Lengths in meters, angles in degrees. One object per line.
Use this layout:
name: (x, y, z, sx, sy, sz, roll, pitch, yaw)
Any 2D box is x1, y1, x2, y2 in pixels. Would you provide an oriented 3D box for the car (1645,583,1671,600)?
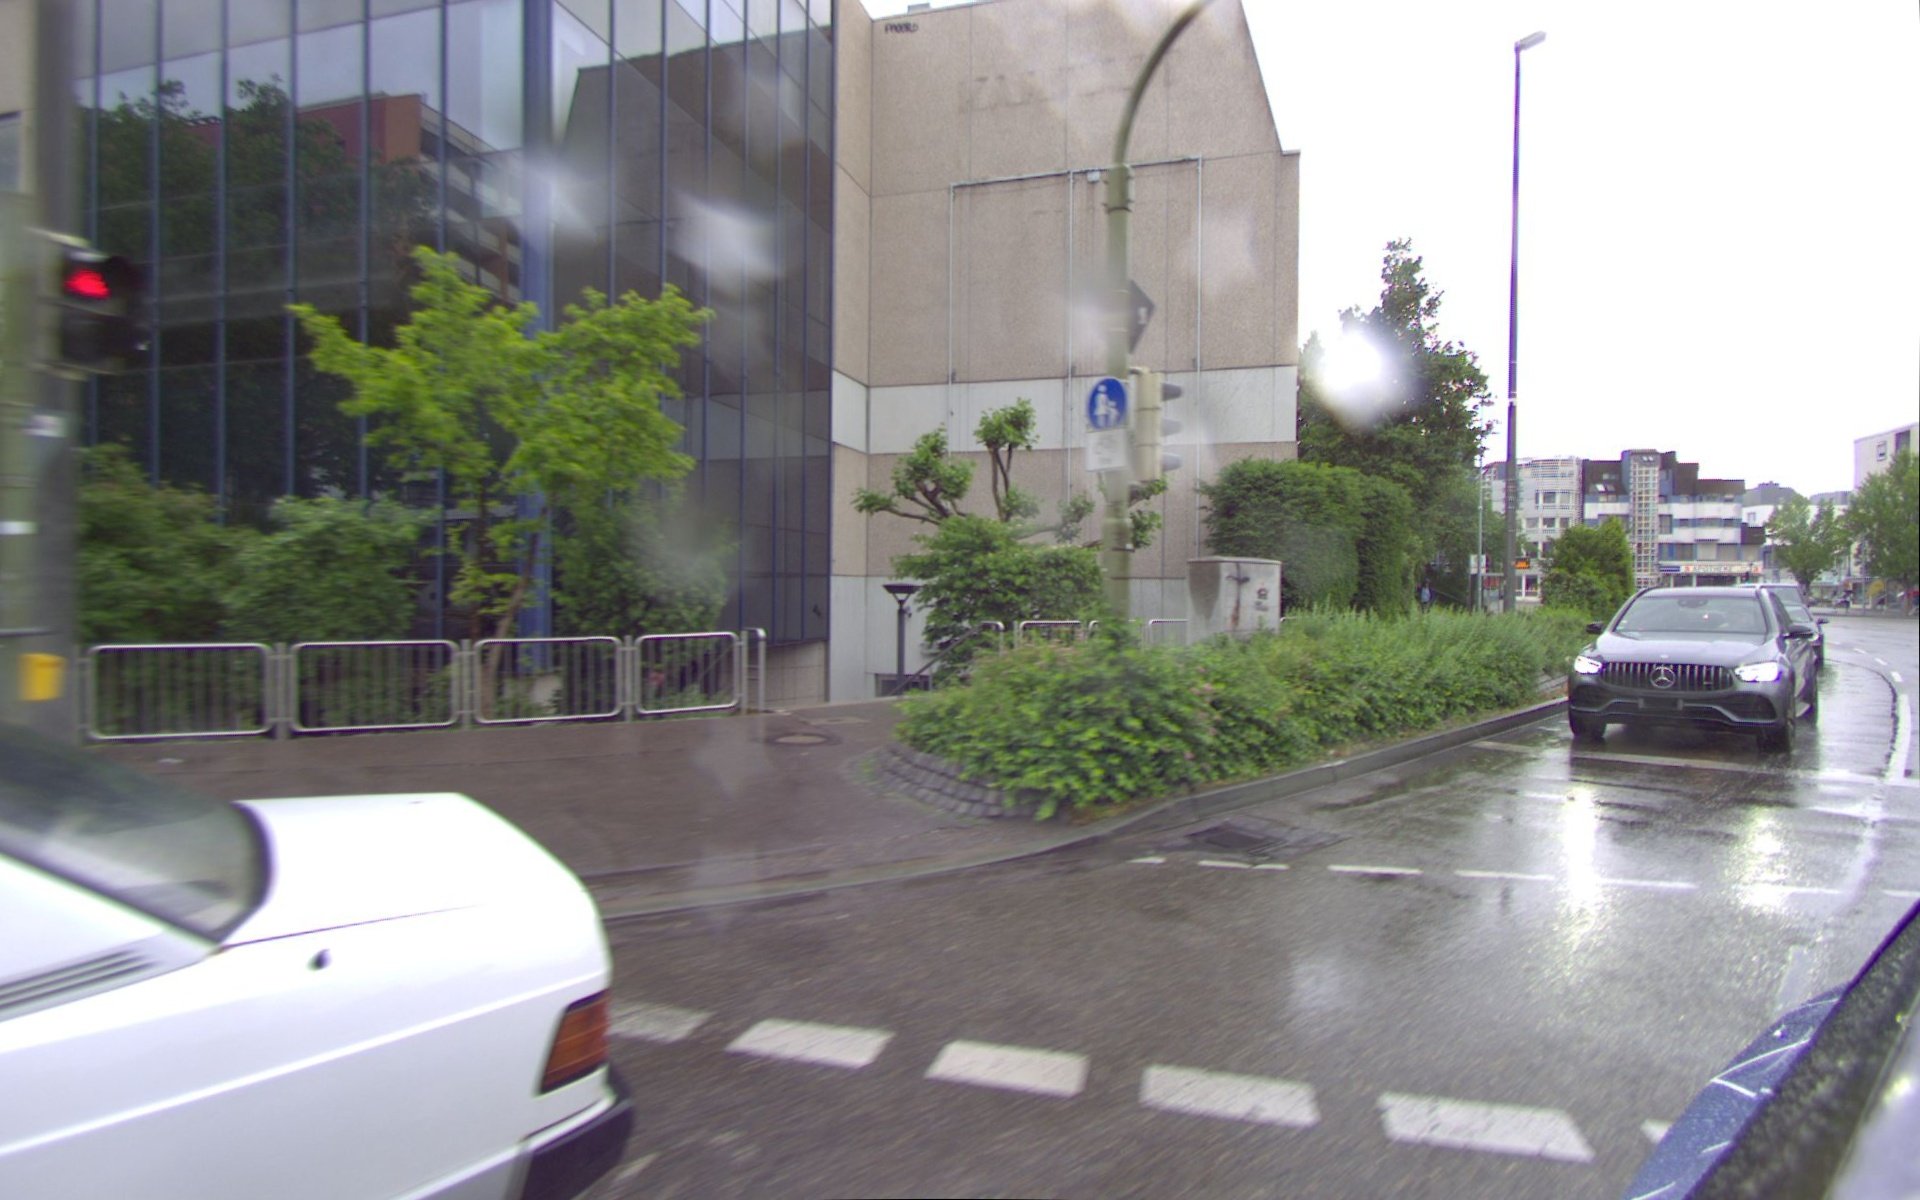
car: (61.907, -0.773, 89.751, 1.836, 1.479, 4.749, -1, 0, 34)

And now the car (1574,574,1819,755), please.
car: (8.424, 0.566, 11.417, 1.899, 1.641, 4.272, 0, 0, 41)

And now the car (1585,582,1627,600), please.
car: (53.620, -0.719, 84.069, 1.738, 1.470, 3.981, 0, 0, 15)

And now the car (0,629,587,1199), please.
car: (-2.775, 0.775, 1.034, 4.192, 1.467, 1.637, 1, -2, -40)

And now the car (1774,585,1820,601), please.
car: (96.360, -0.803, 116.530, 3.824, 1.742, 1.746, 0, 0, 3)

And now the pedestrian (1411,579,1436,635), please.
pedestrian: (15.304, 0.223, 33.444, 0.665, 1.819, 0.670, 0, 1, 17)

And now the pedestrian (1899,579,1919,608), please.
pedestrian: (66.807, -0.450, 71.091, 0.895, 2.039, 0.971, 0, 0, 20)

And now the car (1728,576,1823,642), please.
car: (25.600, 0.236, 31.900, 1.989, 1.918, 4.529, -1, 1, 35)

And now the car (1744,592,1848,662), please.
car: (18.773, 0.542, 22.861, 1.628, 1.403, 4.453, -1, 0, 38)

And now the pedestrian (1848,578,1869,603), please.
pedestrian: (70.449, -0.713, 79.343, 0.895, 1.939, 0.971, 0, 0, 20)

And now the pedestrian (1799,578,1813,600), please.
pedestrian: (77.352, -0.975, 92.532, 0.751, 2.039, 0.859, 0, 0, 19)
